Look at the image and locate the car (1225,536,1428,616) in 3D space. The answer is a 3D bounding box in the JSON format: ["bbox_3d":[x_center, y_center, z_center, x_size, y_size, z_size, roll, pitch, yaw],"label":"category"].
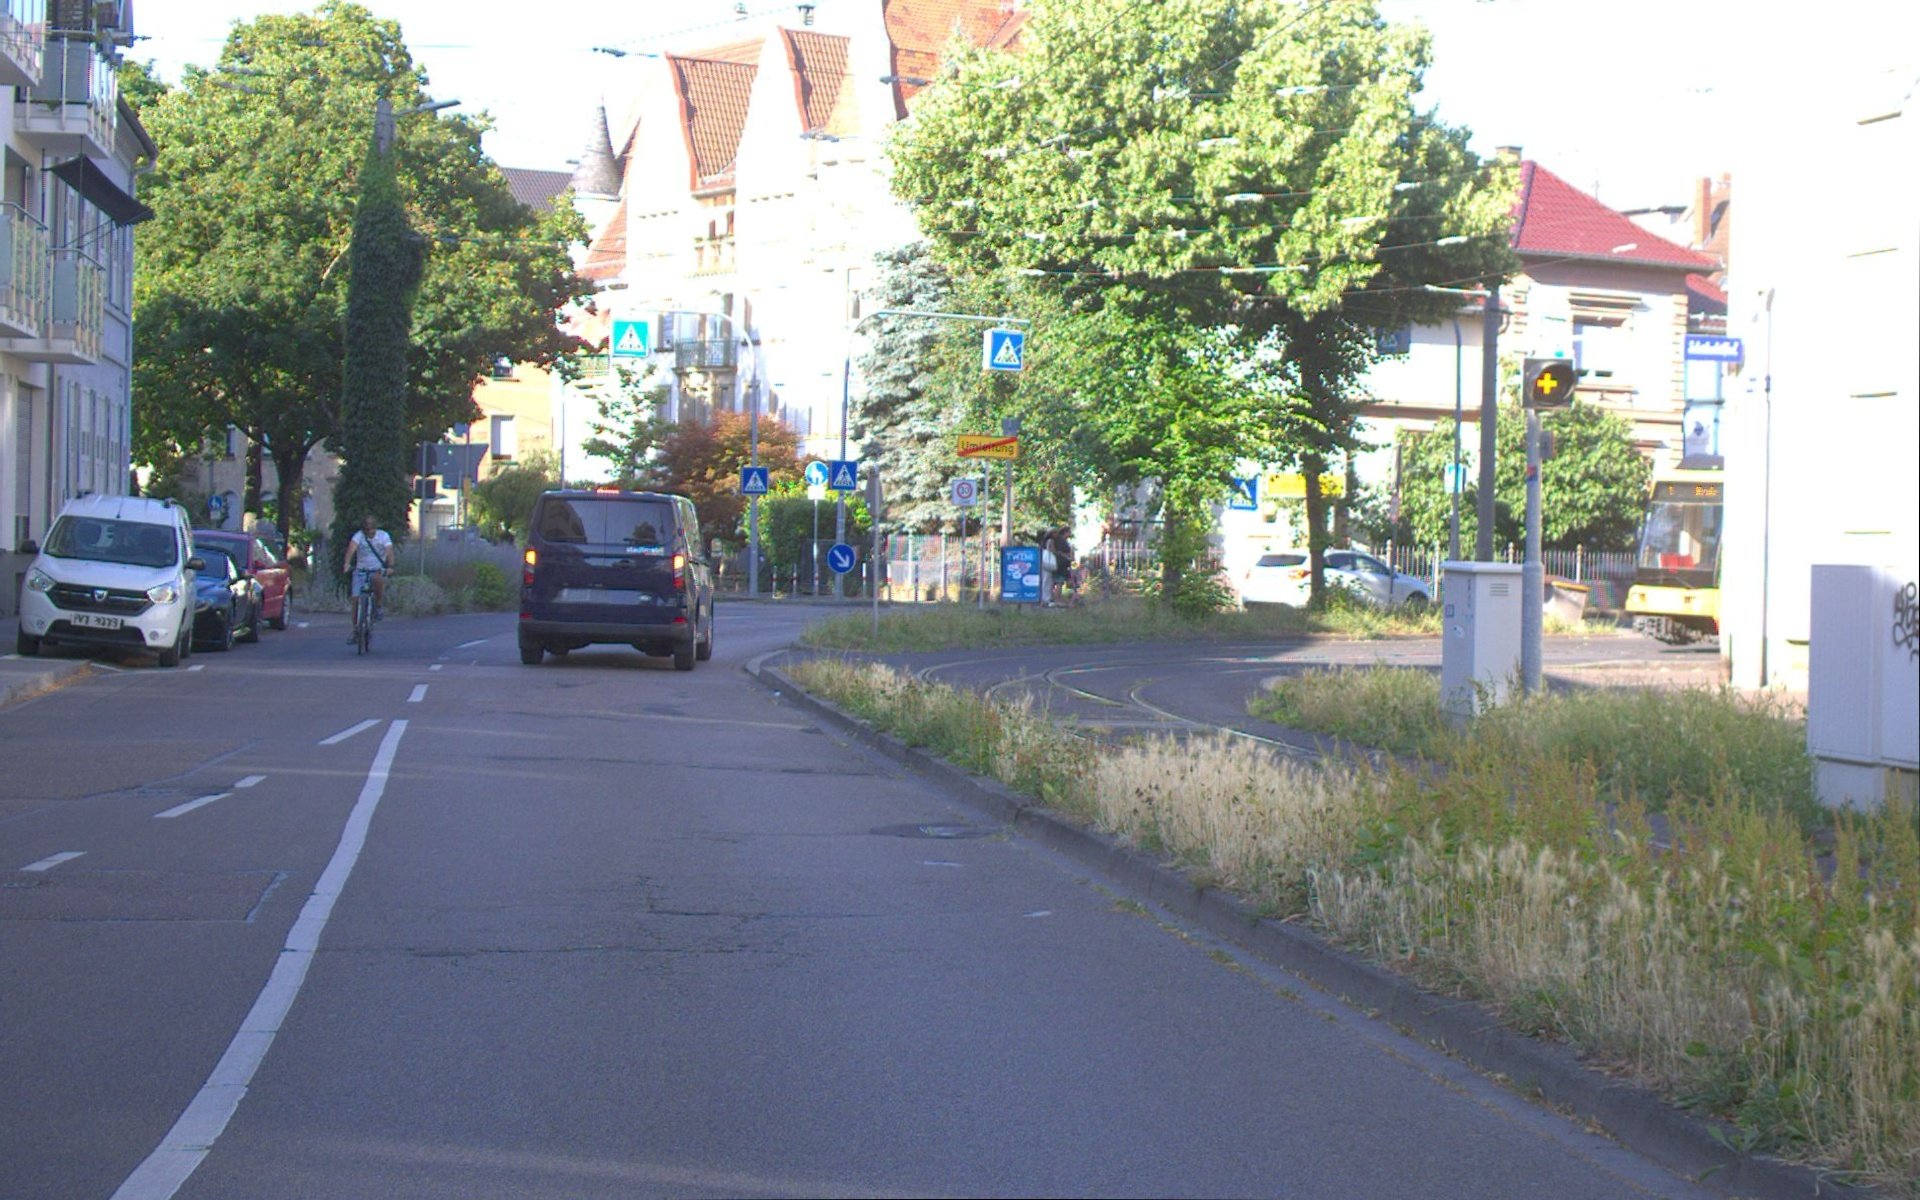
[{"bbox_3d":[7.197,-0.492,67.398,3.674,1.500,1.964,-1,2,-40],"label":"car"}]

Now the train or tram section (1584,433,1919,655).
[{"bbox_3d":[15.274,-0.908,58.818,9.888,3.543,2.784,0,1,-35],"label":"train or tram section"}]

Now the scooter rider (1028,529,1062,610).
[{"bbox_3d":[1.750,-0.627,70.977,0.606,1.667,0.655,0,1,-7],"label":"scooter rider"}]

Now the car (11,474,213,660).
[{"bbox_3d":[-9.413,-0.378,38.431,1.810,1.863,4.334,3,0,-10],"label":"car"}]

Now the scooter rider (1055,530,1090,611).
[{"bbox_3d":[2.323,-0.615,70.999,0.606,1.667,0.655,0,1,-7],"label":"scooter rider"}]

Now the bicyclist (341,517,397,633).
[{"bbox_3d":[-7.128,-0.303,41.479,0.622,1.375,0.801,0,1,-7],"label":"bicyclist"}]

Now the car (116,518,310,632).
[{"bbox_3d":[-10.673,-0.399,49.401,1.709,1.461,4.592,3,2,0],"label":"car"}]

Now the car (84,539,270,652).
[{"bbox_3d":[-9.830,-0.073,43.389,1.664,1.269,4.026,3,0,-5],"label":"car"}]

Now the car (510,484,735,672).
[{"bbox_3d":[-3.855,-0.287,39.864,1.994,2.007,4.000,2,1,2],"label":"car"}]

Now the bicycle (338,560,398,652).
[{"bbox_3d":[-7.130,0.058,41.448,0.622,1.078,1.784,0,1,-7],"label":"bicycle"}]
